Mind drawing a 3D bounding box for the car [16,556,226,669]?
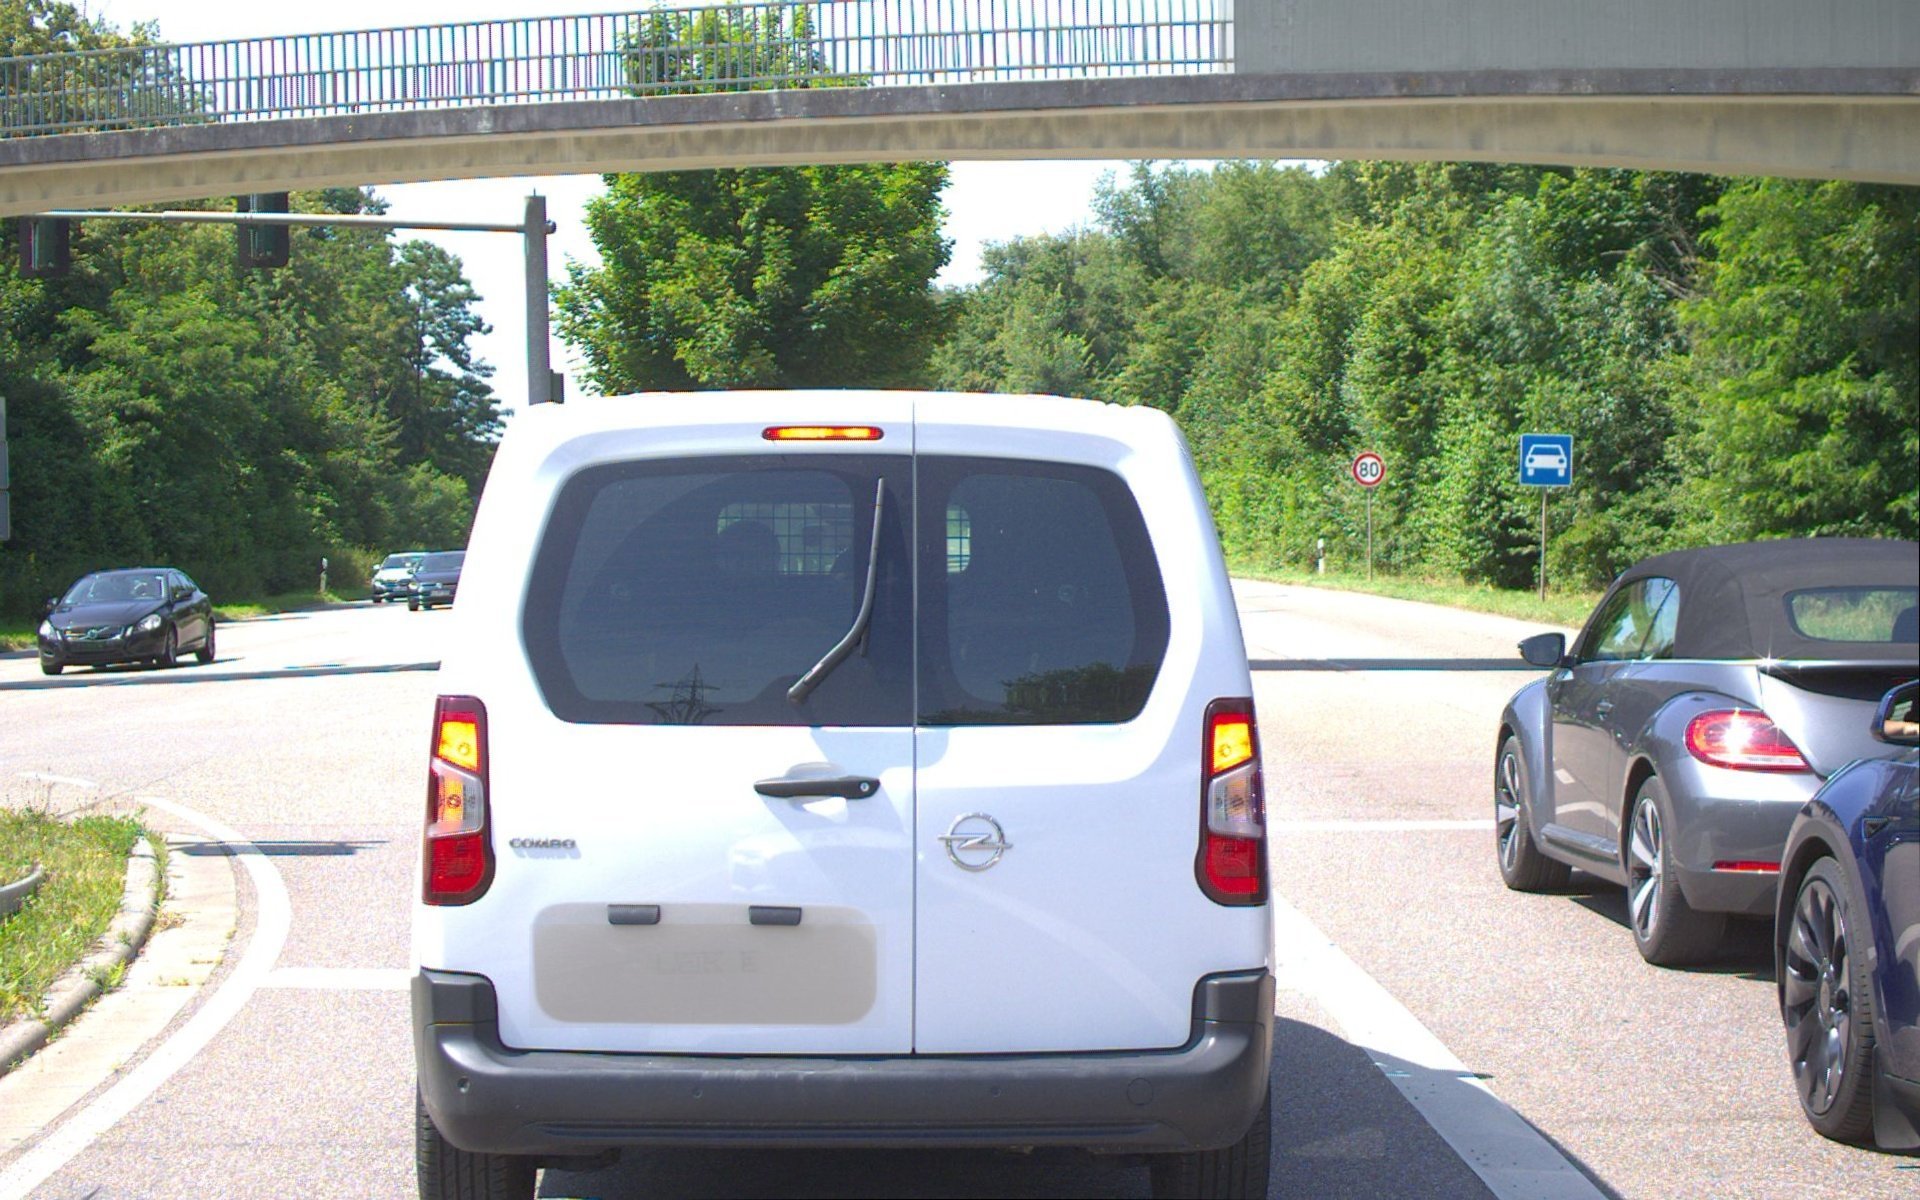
[{"bbox_3d":[-11.957,0.148,49.261,2.008,1.455,4.055,-2,1,-1],"label":"car"}]

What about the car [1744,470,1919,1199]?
[{"bbox_3d":[3.066,0.561,6.855,1.900,1.639,4.520,1,1,-1],"label":"car"}]

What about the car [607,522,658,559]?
[{"bbox_3d":[-15.256,-2.769,160.227,1.993,1.659,4.000,-1,1,-1],"label":"car"}]

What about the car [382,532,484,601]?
[{"bbox_3d":[-13.428,-0.882,87.799,1.993,1.659,4.000,-1,1,-1],"label":"car"}]

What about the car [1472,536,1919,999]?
[{"bbox_3d":[3.221,0.513,13.059,1.900,1.472,3.939,1,1,-1],"label":"car"}]

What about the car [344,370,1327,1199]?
[{"bbox_3d":[-0.290,0.421,8.519,1.849,1.819,3.982,1,2,-1],"label":"car"}]

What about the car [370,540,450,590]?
[{"bbox_3d":[-16.395,-1.066,102.572,1.752,1.402,4.000,-1,1,-1],"label":"car"}]
